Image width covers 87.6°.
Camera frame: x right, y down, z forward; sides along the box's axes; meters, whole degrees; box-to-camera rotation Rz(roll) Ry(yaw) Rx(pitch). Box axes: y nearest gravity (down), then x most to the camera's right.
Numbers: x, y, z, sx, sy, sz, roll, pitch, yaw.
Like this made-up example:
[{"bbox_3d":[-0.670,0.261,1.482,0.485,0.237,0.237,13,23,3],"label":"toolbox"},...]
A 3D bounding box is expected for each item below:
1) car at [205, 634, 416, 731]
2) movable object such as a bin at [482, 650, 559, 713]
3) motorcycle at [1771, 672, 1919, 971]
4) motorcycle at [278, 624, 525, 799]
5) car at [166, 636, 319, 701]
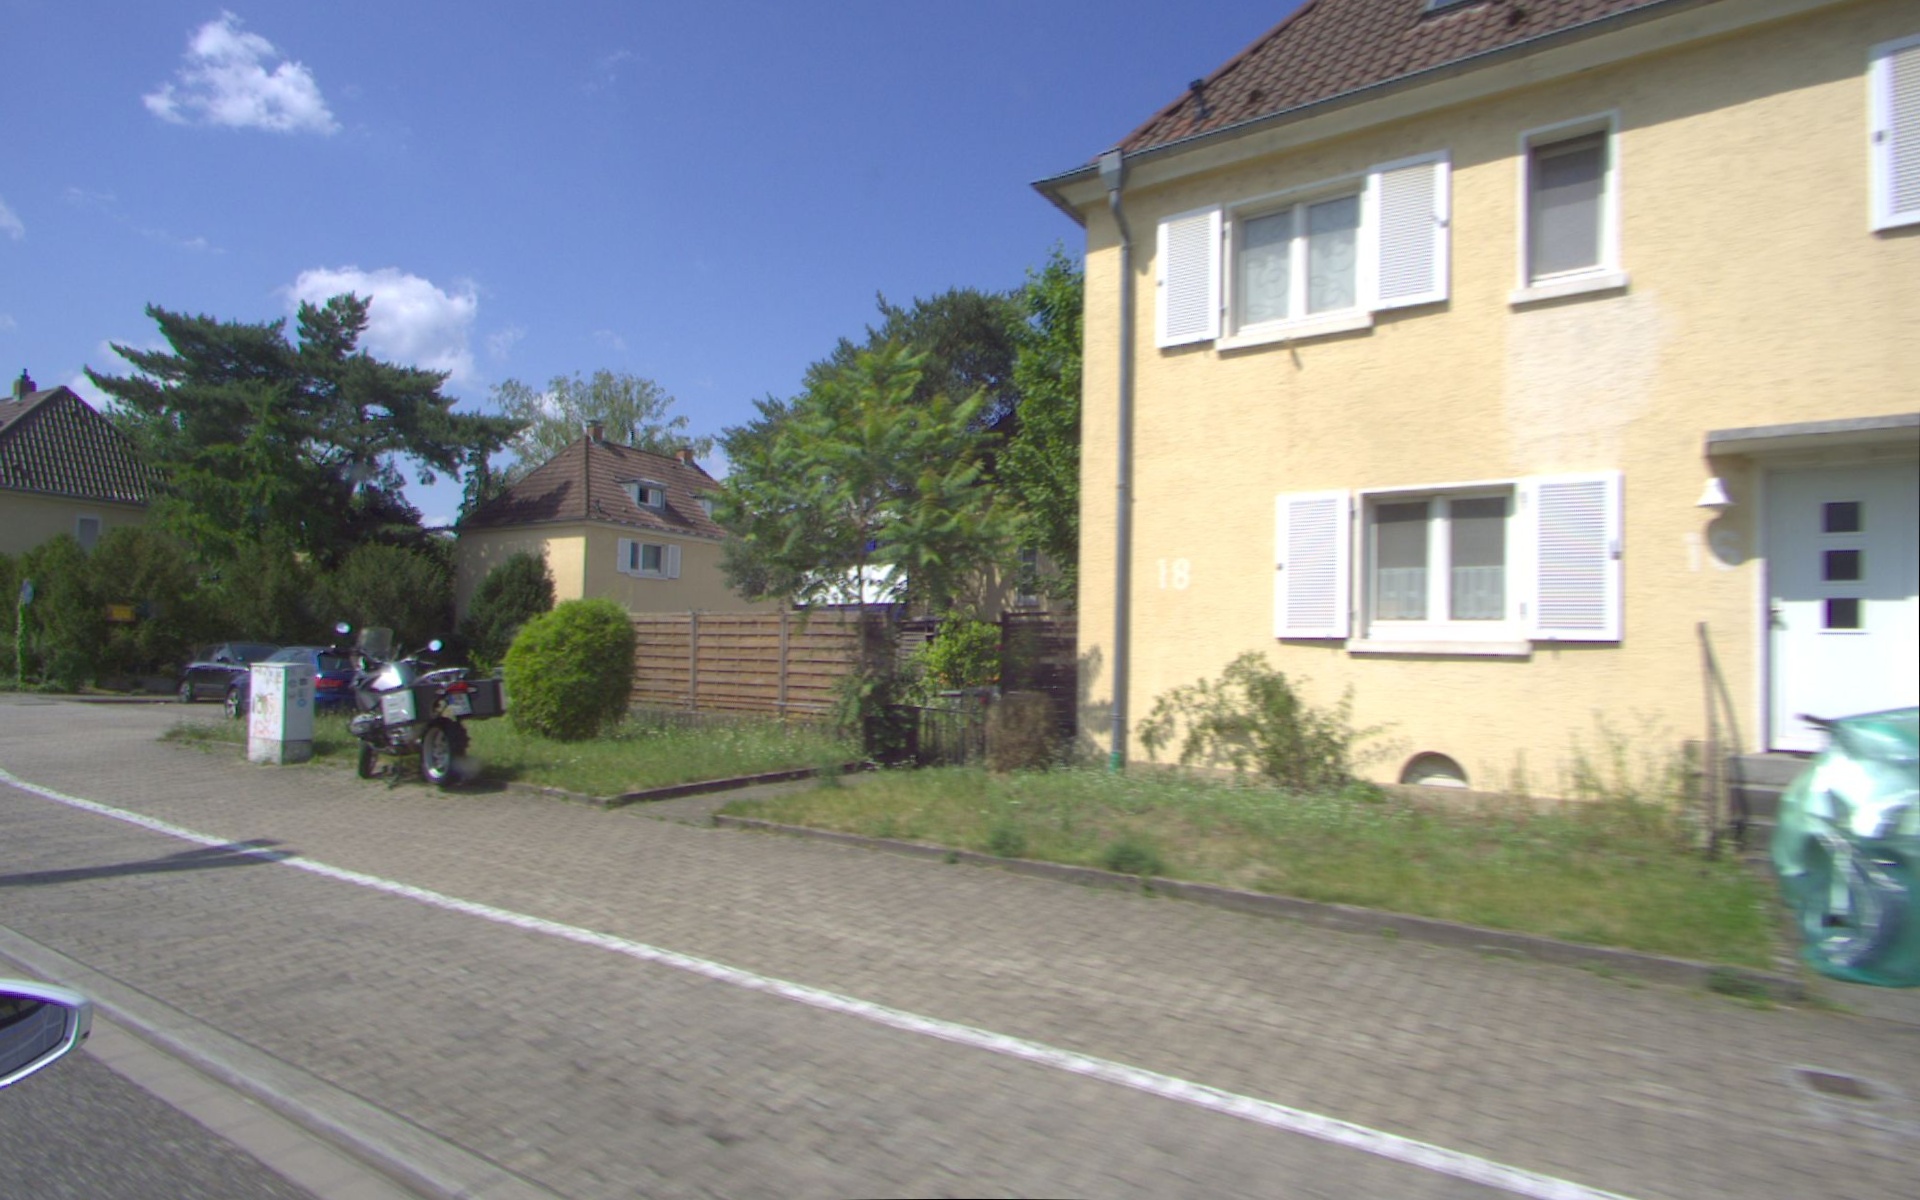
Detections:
[{"bbox_3d":[-11.811,1.441,18.139,4.228,1.398,1.637,1,-3,34],"label":"car"},{"bbox_3d":[-7.076,1.291,16.097,1.271,0.947,0.568,-1,-3,37],"label":"movable object such as a bin"},{"bbox_3d":[4.674,0.978,4.972,0.843,1.212,2.223,0,-3,35],"label":"motorcycle"},{"bbox_3d":[-5.478,0.985,9.764,2.548,1.489,1.045,0,0,33],"label":"motorcycle"},{"bbox_3d":[-18.326,1.719,25.558,3.750,1.566,1.628,-1,-4,28],"label":"car"}]
